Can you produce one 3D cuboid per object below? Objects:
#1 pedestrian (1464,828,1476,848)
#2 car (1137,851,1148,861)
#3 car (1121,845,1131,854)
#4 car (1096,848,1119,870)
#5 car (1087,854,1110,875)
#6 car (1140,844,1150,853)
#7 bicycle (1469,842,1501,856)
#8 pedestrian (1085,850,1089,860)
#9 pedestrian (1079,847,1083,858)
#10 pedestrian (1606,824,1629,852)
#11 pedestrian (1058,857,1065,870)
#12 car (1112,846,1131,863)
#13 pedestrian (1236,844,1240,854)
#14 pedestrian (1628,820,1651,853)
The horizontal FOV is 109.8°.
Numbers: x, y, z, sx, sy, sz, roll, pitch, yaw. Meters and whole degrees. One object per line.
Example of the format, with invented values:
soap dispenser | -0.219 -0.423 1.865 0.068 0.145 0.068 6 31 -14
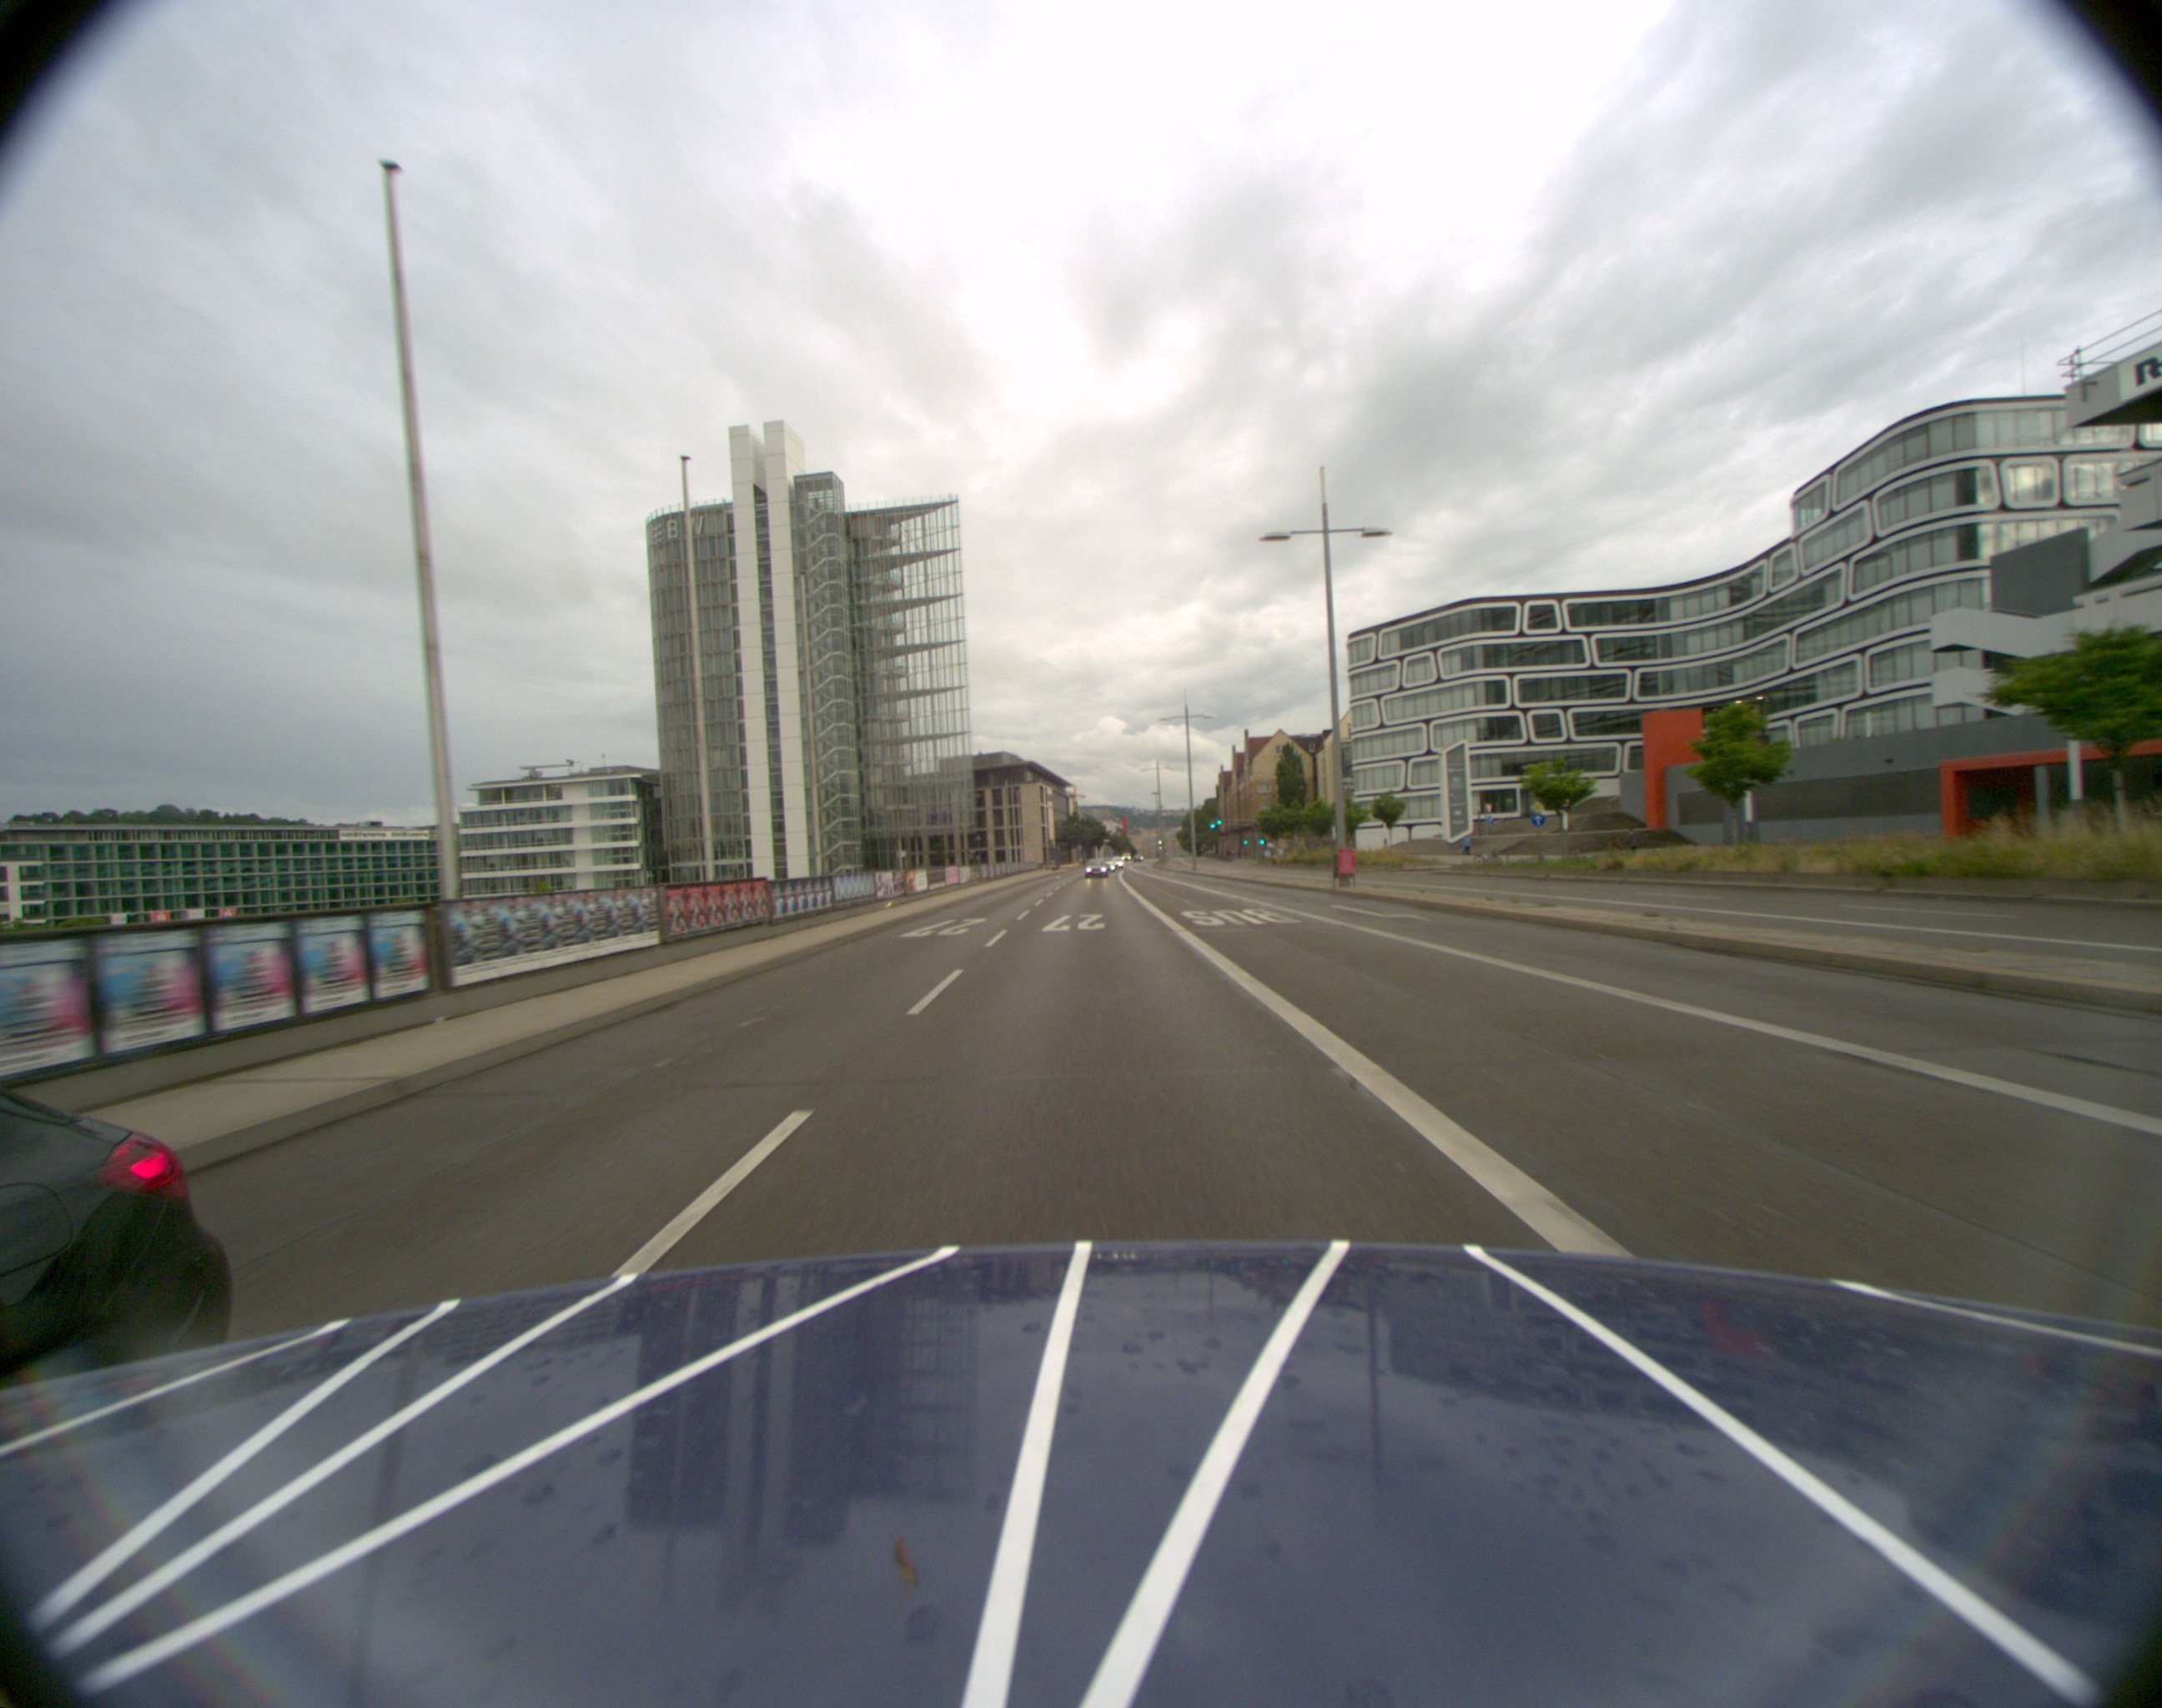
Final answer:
pedestrian | 31.229 -1.288 61.066 0.612 1.602 0.639 -3 2 4
car | 13.596 0.458 168.278 1.999 2.002 3.999 -2 2 0
car | 11.066 -1.185 187.272 1.999 2.002 3.999 -2 2 0
car | 2.582 0.456 75.069 1.999 2.002 3.999 -2 2 0
car | 1.306 0.791 58.274 1.684 1.379 3.475 -2 1 0
car | 15.469 -1.266 182.661 1.999 2.002 3.999 -2 2 0
bicycle | 24.839 -0.298 46.754 0.610 0.852 1.653 -3 2 -32
pedestrian | 0.973 0.101 118.378 0.542 1.519 0.600 -2 2 2
pedestrian | 0.055 -0.254 116.322 0.461 1.590 0.656 -2 2 5
pedestrian | 28.206 -0.853 39.927 0.619 1.438 0.798 -2 2 2
pedestrian | -2.584 1.254 100.097 0.660 1.601 0.547 -3 1 7
car | 4.897 0.054 91.778 1.970 1.816 3.929 -3 1 7
pedestrian | 28.984 -0.860 140.100 0.677 1.769 0.684 -2 2 7
pedestrian | 29.216 -0.917 39.782 0.619 1.649 0.798 -2 2 2
